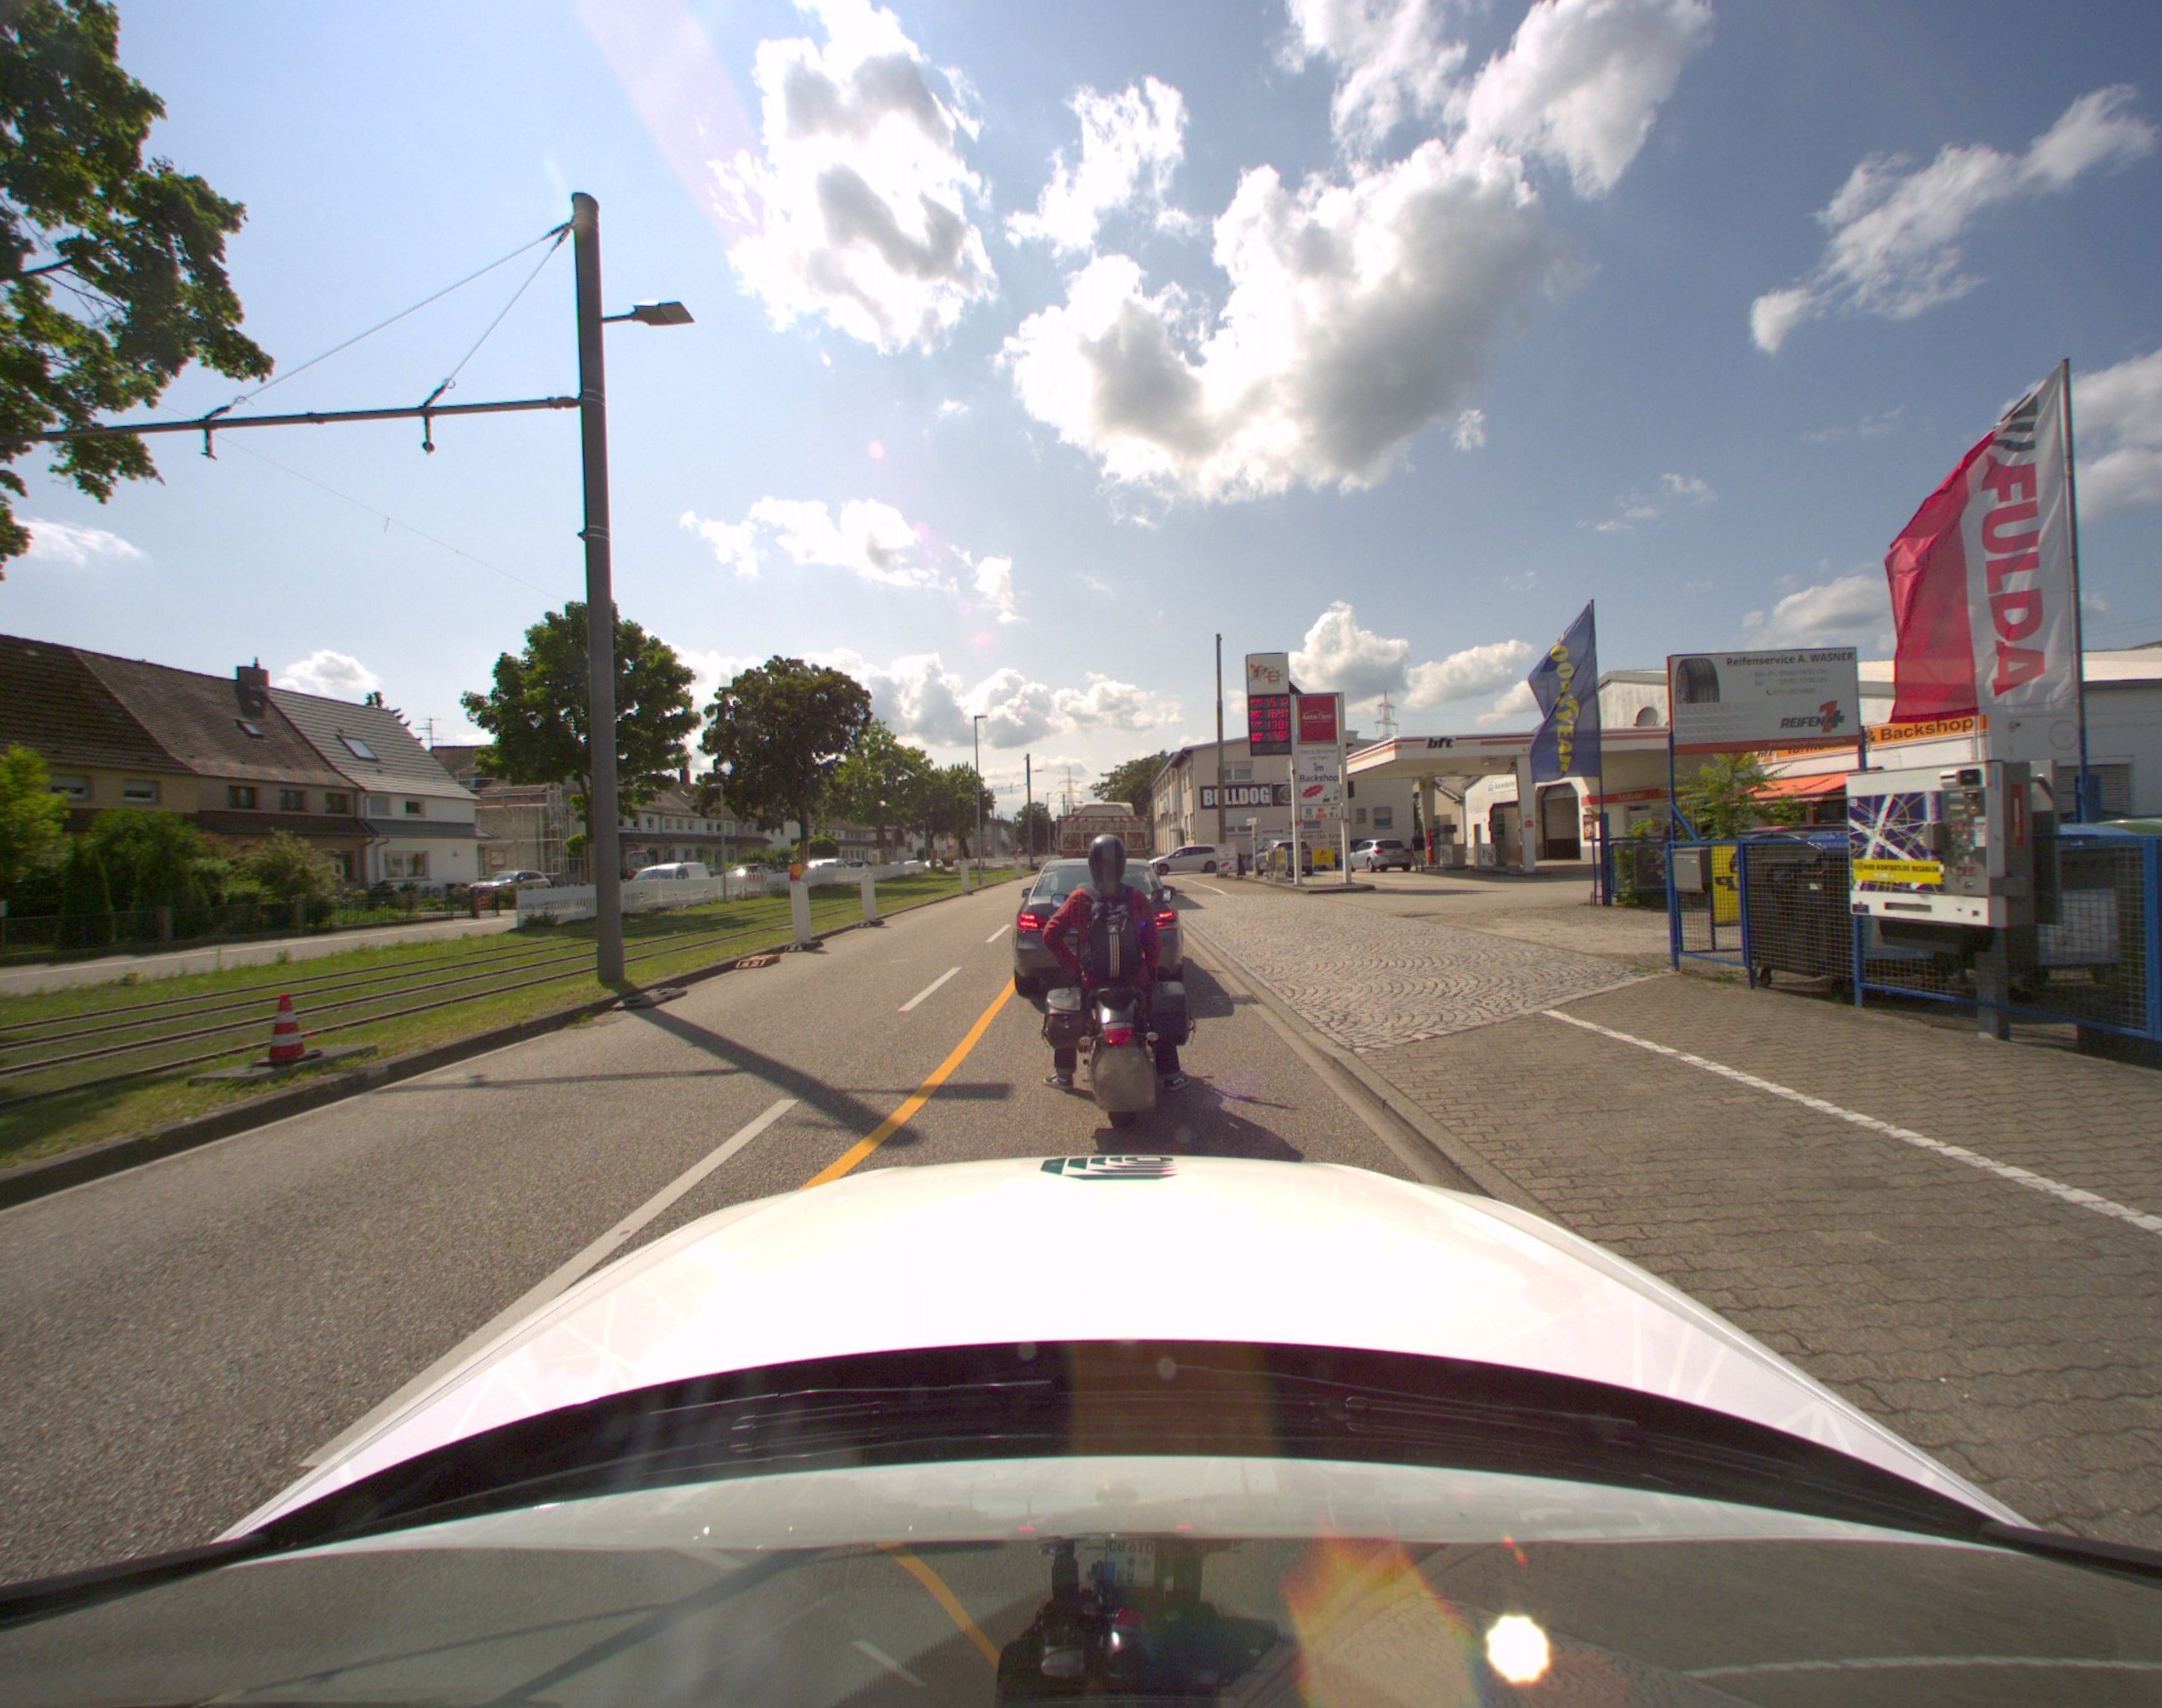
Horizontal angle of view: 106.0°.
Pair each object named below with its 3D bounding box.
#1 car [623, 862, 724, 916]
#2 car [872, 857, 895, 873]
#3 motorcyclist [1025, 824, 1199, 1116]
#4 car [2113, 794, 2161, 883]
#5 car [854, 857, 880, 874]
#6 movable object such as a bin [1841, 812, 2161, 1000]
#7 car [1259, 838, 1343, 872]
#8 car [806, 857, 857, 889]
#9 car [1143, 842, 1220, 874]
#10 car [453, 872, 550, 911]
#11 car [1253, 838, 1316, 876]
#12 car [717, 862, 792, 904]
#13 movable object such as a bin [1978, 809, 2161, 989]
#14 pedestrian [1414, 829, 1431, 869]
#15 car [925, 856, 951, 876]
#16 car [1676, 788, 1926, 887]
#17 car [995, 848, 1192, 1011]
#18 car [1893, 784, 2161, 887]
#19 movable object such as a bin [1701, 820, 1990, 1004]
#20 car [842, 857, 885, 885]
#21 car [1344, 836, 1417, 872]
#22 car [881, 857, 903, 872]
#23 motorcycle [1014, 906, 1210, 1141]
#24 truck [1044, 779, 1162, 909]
[{"bbox_3d":[-15.419,1.279,31.055,1.692,1.817,3.862,-2,0,2],"label":"car"},{"bbox_3d":[-24.050,1.342,99.340,1.692,1.739,4.064,-2,0,2],"label":"car"},{"bbox_3d":[0.193,0.653,5.194,0.966,1.633,1.215,-1,0,1],"label":"motorcyclist"},{"bbox_3d":[26.351,-0.433,18.184,3.972,2.013,2.001,-2,0,1],"label":"car"},{"bbox_3d":[-24.465,1.307,93.137,1.692,1.739,4.064,-2,0,2],"label":"car"},{"bbox_3d":[8.103,0.415,7.279,1.222,1.454,1.455,-2,0,0],"label":"movable object such as a bin"},{"bbox_3d":[11.785,0.044,43.857,4.087,1.624,1.688,-2,0,3],"label":"car"},{"bbox_3d":[-15.072,1.113,49.390,1.692,1.739,3.862,-2,0,2],"label":"car"},{"bbox_3d":[5.765,0.230,47.048,4.101,1.624,1.682,-3,0,-7],"label":"car"},{"bbox_3d":[-27.480,1.732,38.792,1.692,1.593,3.862,-2,0,2],"label":"car"},{"bbox_3d":[9.067,0.124,36.575,1.826,1.536,4.009,-3,0,1],"label":"car"},{"bbox_3d":[-15.326,1.326,38.485,1.692,1.739,4.056,-2,0,2],"label":"car"},{"bbox_3d":[9.448,0.335,7.189,1.425,1.454,1.455,-2,0,0],"label":"movable object such as a bin"},{"bbox_3d":[14.841,-0.208,35.387,0.628,1.683,0.626,-2,0,23],"label":"pedestrian"},{"bbox_3d":[-14.042,1.151,80.062,1.692,1.739,3.862,-2,0,2],"label":"car"},{"bbox_3d":[16.601,-0.371,18.960,3.972,2.013,2.001,-2,0,1],"label":"car"},{"bbox_3d":[0.152,0.720,9.836,1.826,1.479,4.009,-3,0,1],"label":"car"},{"bbox_3d":[21.248,-0.400,18.268,3.972,2.013,2.001,-2,0,1],"label":"car"},{"bbox_3d":[6.824,0.469,7.403,1.222,1.454,1.455,-2,0,0],"label":"movable object such as a bin"},{"bbox_3d":[-14.868,1.143,55.757,1.692,1.739,3.862,-2,0,2],"label":"car"},{"bbox_3d":[13.537,-0.021,37.068,1.826,1.479,4.009,-3,0,1],"label":"car"},{"bbox_3d":[-24.379,1.350,105.364,1.692,1.739,4.064,-2,0,2],"label":"car"},{"bbox_3d":[0.194,0.931,5.312,0.972,1.013,2.433,-1,0,2],"label":"motorcycle"},{"bbox_3d":[0.641,-0.281,25.603,2.960,3.304,8.407,-2,0,1],"label":"truck"}]
